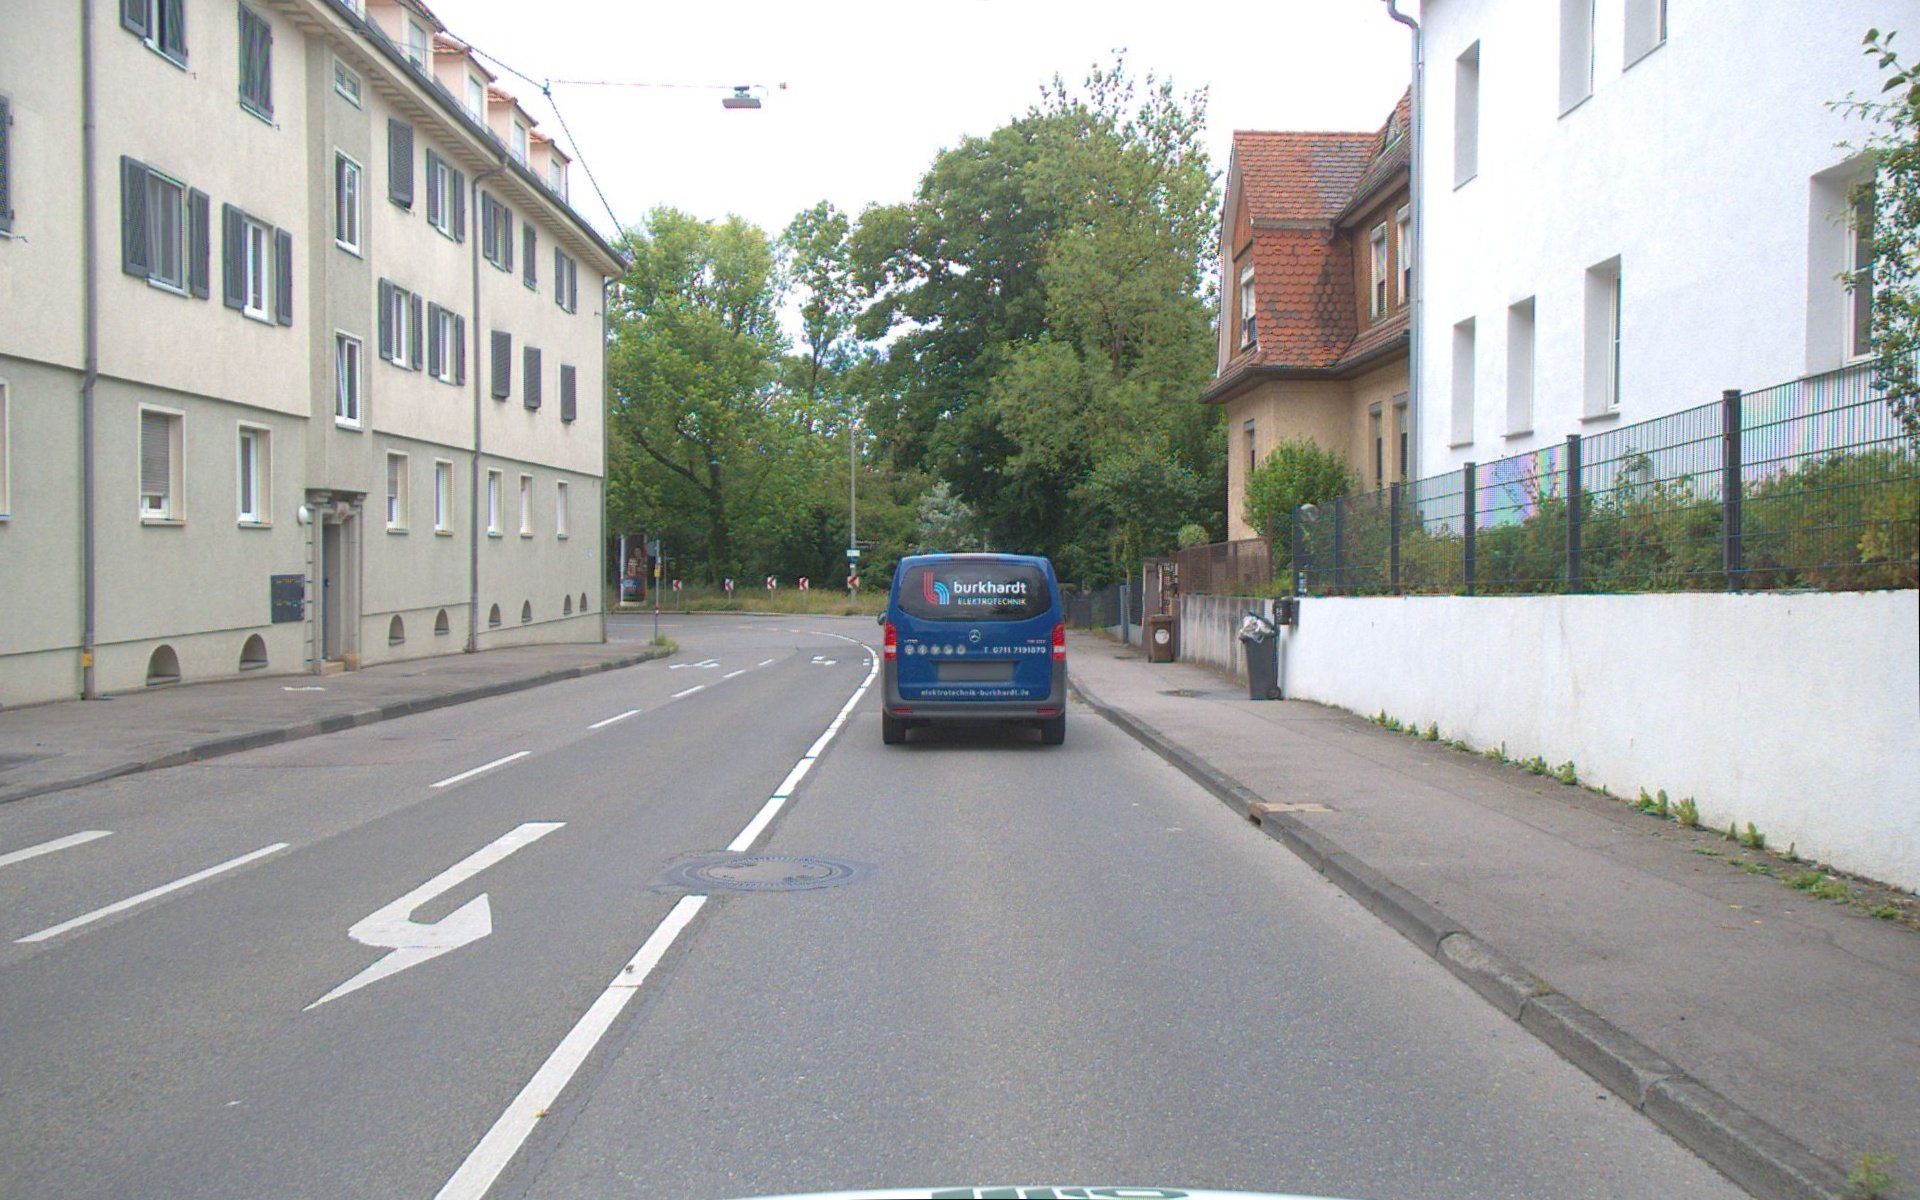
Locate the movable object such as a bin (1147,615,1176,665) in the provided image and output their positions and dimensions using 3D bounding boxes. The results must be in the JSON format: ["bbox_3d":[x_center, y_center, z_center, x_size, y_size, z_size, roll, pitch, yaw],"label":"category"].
[{"bbox_3d":[3.975,0.779,32.665,0.452,0.940,0.566,-3,0,-2],"label":"movable object such as a bin"}]

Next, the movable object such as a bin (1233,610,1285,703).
[{"bbox_3d":[4.030,0.753,22.317,0.517,1.198,0.634,-3,0,-2],"label":"movable object such as a bin"}]

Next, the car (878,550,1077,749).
[{"bbox_3d":[0.061,0.453,17.728,1.875,1.870,4.291,0,0,-3],"label":"car"}]

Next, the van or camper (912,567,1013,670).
[{"bbox_3d":[-0.020,0.344,36.230,1.979,1.990,4.895,-3,1,-2],"label":"van or camper"}]
